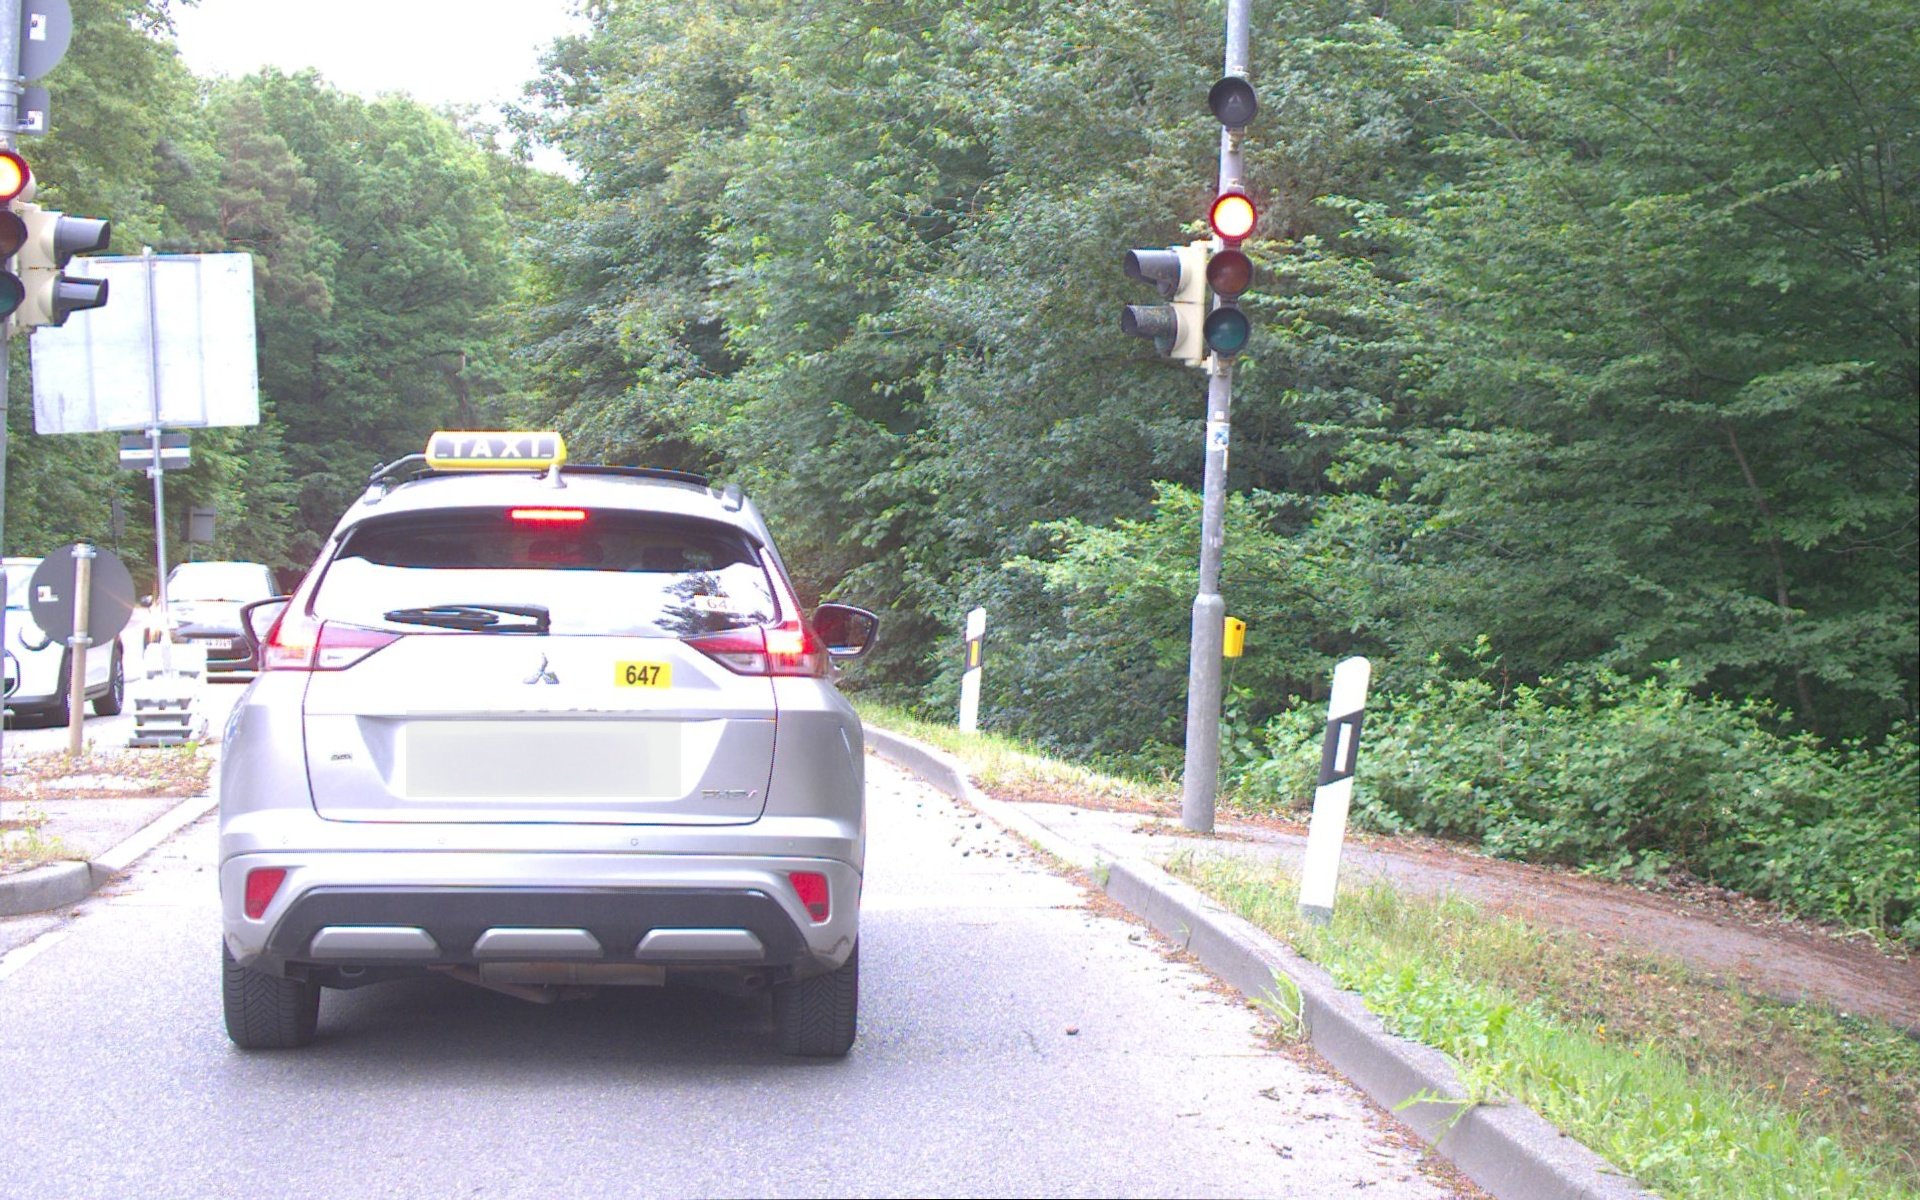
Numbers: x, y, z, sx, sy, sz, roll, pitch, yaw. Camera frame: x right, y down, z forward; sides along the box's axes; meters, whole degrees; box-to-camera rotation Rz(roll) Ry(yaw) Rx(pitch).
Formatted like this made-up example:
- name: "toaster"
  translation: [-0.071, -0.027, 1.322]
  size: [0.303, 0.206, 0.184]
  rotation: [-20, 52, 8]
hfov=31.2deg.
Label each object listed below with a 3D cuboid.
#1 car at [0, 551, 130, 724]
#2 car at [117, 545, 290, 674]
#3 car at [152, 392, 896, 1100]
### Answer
- name: "car"
  translation: [-8.237, 0.291, 29.270]
  size: [1.612, 1.317, 3.722]
  rotation: [-2, 2, -3]
- name: "car"
  translation: [-9.456, 0.093, 43.204]
  size: [1.811, 1.503, 3.722]
  rotation: [-2, 1, -8]
- name: "car"
  translation: [-1.307, 0.335, 10.819]
  size: [1.846, 1.774, 4.001]
  rotation: [2, 1, -6]
